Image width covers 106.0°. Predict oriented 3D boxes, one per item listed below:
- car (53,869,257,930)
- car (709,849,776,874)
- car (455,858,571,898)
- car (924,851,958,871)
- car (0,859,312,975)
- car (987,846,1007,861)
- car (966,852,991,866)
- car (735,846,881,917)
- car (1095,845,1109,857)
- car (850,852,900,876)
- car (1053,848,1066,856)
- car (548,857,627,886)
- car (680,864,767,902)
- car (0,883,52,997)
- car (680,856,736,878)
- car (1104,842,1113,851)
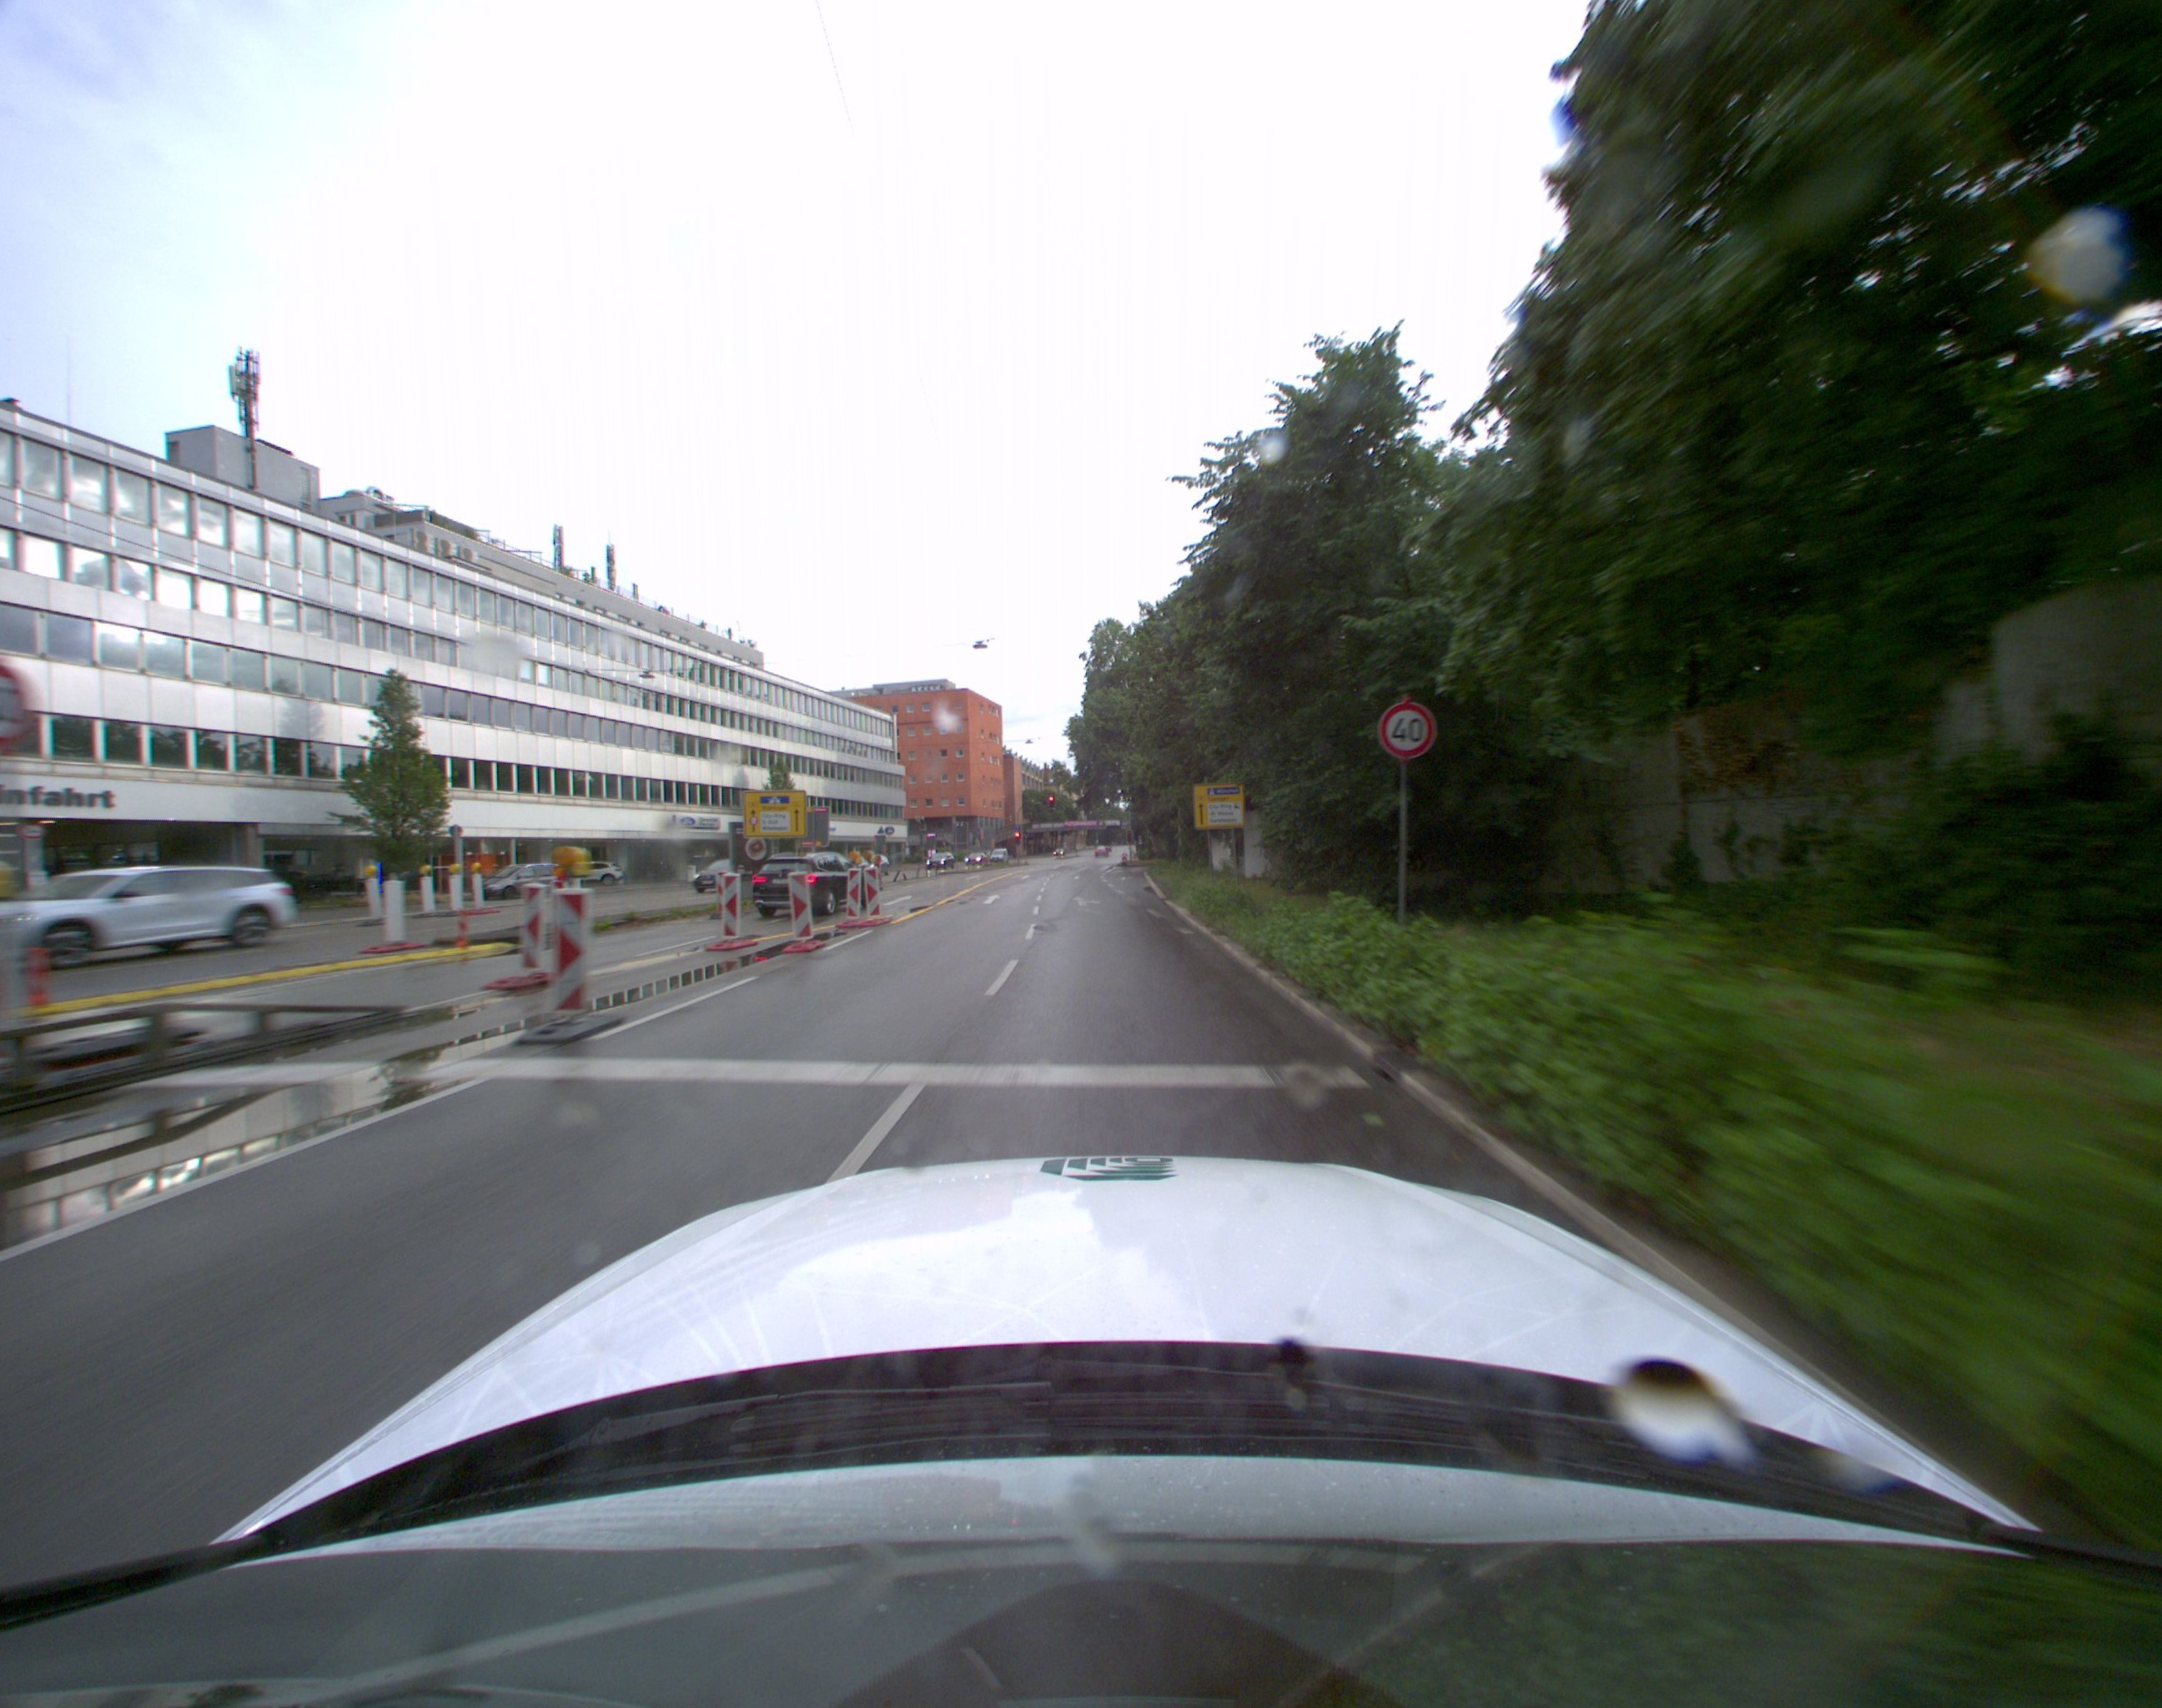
[{"bbox_3d":[-28.240,1.334,25.029,1.643,1.535,3.764,-3,0,8],"label":"car"},{"bbox_3d":[-29.648,0.617,71.349,5.014,1.897,1.977,-3,0,-39],"label":"car"},{"bbox_3d":[-28.966,1.182,41.740,1.835,1.779,4.747,-3,0,13],"label":"car"},{"bbox_3d":[-13.499,0.670,78.585,1.835,1.737,4.615,-2,0,8],"label":"car"},{"bbox_3d":[-17.407,1.010,14.888,1.972,1.707,4.833,-2,0,1],"label":"car"},{"bbox_3d":[-10.789,-0.083,105.170,1.725,1.786,4.308,-3,0,5],"label":"car"},{"bbox_3d":[-11.746,0.573,93.411,1.820,1.502,4.380,-3,0,5],"label":"car"},{"bbox_3d":[-7.240,0.648,22.214,1.937,1.597,4.680,0,2,7],"label":"car"},{"bbox_3d":[3.308,-0.530,128.946,2.112,1.734,4.201,0,2,2],"label":"car"},{"bbox_3d":[-14.699,0.672,58.360,1.797,1.558,4.313,-2,0,9],"label":"car"},{"bbox_3d":[-4.088,-0.380,157.007,1.984,1.519,4.005,-2,0,5],"label":"car"},{"bbox_3d":[-32.869,1.145,54.328,4.402,1.651,1.835,-3,0,-32],"label":"car"},{"bbox_3d":[-16.435,1.301,37.655,1.742,1.513,4.009,-3,0,8],"label":"car"},{"bbox_3d":[-14.419,1.114,8.527,1.729,1.404,4.291,-1,0,1],"label":"car"},{"bbox_3d":[-30.268,1.058,66.231,4.006,1.574,1.984,-3,0,-25],"label":"car"},{"bbox_3d":[6.110,-1.691,183.199,1.755,1.697,3.710,-3,0,4],"label":"car"}]
